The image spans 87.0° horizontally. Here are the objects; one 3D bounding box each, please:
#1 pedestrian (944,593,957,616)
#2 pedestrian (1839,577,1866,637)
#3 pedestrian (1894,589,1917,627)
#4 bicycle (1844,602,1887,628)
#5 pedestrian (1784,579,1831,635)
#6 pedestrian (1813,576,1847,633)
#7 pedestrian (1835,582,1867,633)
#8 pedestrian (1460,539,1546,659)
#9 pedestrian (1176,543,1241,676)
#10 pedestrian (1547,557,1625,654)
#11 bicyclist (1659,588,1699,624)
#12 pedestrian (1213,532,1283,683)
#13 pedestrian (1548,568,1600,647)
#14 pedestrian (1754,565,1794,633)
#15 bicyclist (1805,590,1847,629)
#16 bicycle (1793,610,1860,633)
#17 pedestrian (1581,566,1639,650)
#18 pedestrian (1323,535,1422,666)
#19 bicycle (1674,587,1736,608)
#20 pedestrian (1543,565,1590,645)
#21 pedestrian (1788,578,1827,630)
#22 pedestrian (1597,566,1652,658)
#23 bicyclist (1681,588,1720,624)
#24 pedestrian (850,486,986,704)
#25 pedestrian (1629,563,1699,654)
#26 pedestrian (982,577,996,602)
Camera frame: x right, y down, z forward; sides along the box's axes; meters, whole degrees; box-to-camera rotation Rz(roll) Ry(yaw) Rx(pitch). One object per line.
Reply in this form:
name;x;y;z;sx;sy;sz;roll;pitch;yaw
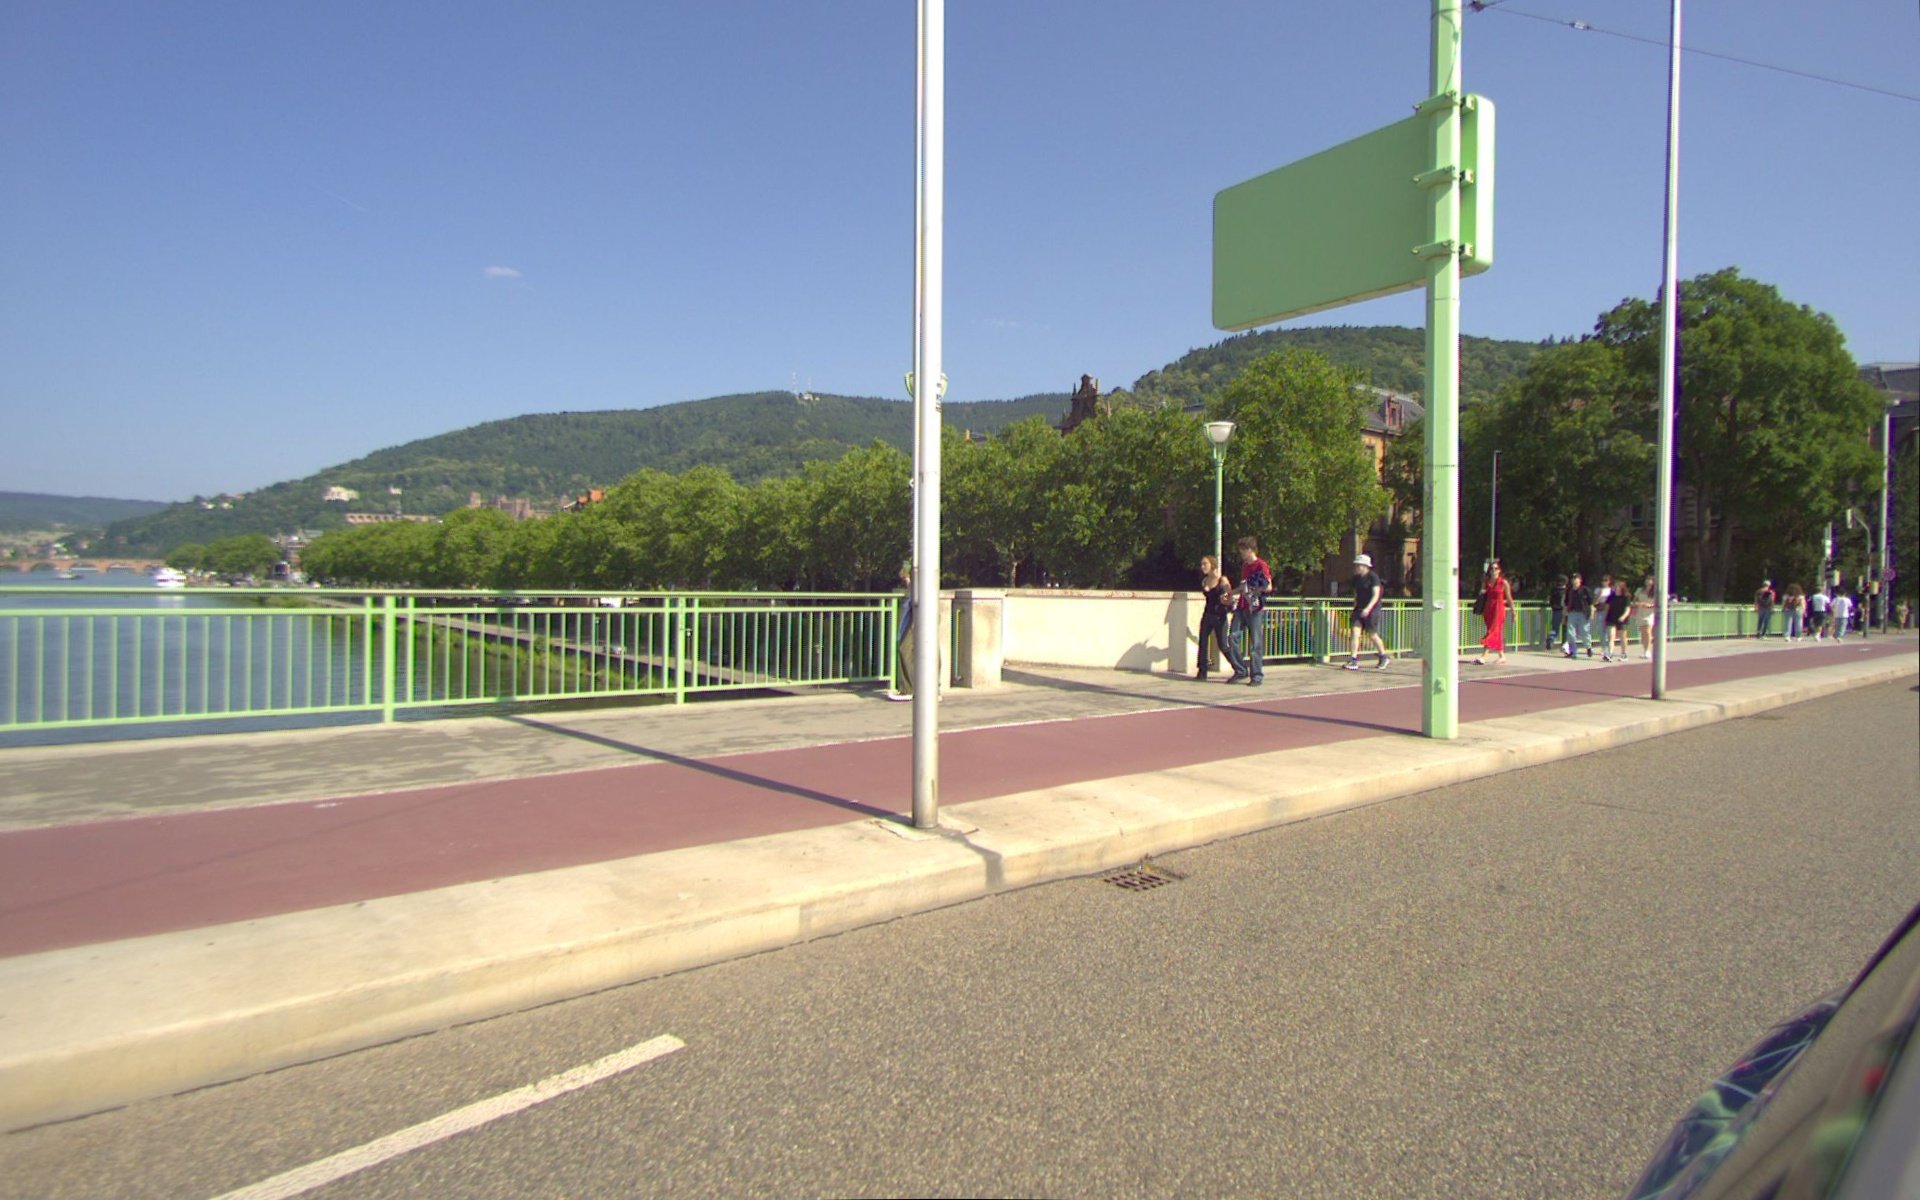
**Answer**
pedestrian;-0.753;0.344;77.942;0.666;1.798;0.740;1;0;-44
pedestrian;27.563;0.208;31.266;0.635;1.821;0.549;-1;2;-44
pedestrian;51.299;0.418;54.917;1.042;2.038;0.776;0;2;-43
bicycle;49.824;0.806;55.703;2.227;1.219;0.805;-3;5;-22
pedestrian;25.380;0.187;30.311;0.906;1.635;0.985;-1;2;-44
pedestrian;26.893;0.135;31.281;0.720;1.738;0.696;-1;2;-44
pedestrian;33.439;0.273;37.975;0.632;1.879;0.776;1;0;-35
pedestrian;9.283;-0.034;17.303;0.923;1.978;1.017;0;2;-41
pedestrian;3.221;0.105;13.100;0.688;1.670;0.523;-1;2;-44
pedestrian;12.219;0.086;19.751;1.234;1.791;0.986;0;2;-44
bicyclist;30.121;0.237;42.399;0.909;1.492;1.084;1;-1;-30
pedestrian;3.589;0.082;12.632;0.622;1.815;0.586;0;1;-43
pedestrian;12.708;0.153;20.946;0.679;1.582;0.651;1;1;-38
pedestrian;24.927;-0.031;30.990;0.939;2.038;0.803;-1;2;-44
bicyclist;34.195;0.365;39.973;0.785;1.492;1.083;1;-1;-34
bicycle;34.194;0.842;39.969;0.554;0.837;1.945;1;0;-34
pedestrian;13.539;0.154;21.080;0.871;1.697;0.834;-1;2;-44
pedestrian;6.374;-0.017;15.629;1.234;1.918;0.985;-1;2;-44
bicycle;30.248;-0.100;41.109;0.554;0.837;1.945;1;0;-34
pedestrian;12.944;0.102;21.587;0.679;1.652;0.651;1;0;-38
pedestrian;27.872;0.126;33.283;0.932;1.655;0.801;0;1;-38
pedestrian;12.482;0.204;19.004;0.854;1.670;0.655;-1;2;-44
bicyclist;30.835;0.253;42.156;0.746;1.492;1.085;1;0;-18
pedestrian;-0.424;-0.064;10.170;1.042;2.038;0.874;-1;2;-44
pedestrian;14.239;0.144;20.472;0.915;1.772;0.985;-1;2;-44
pedestrian;2.116;-0.759;73.983;0.666;1.798;0.740;1;0;-44
